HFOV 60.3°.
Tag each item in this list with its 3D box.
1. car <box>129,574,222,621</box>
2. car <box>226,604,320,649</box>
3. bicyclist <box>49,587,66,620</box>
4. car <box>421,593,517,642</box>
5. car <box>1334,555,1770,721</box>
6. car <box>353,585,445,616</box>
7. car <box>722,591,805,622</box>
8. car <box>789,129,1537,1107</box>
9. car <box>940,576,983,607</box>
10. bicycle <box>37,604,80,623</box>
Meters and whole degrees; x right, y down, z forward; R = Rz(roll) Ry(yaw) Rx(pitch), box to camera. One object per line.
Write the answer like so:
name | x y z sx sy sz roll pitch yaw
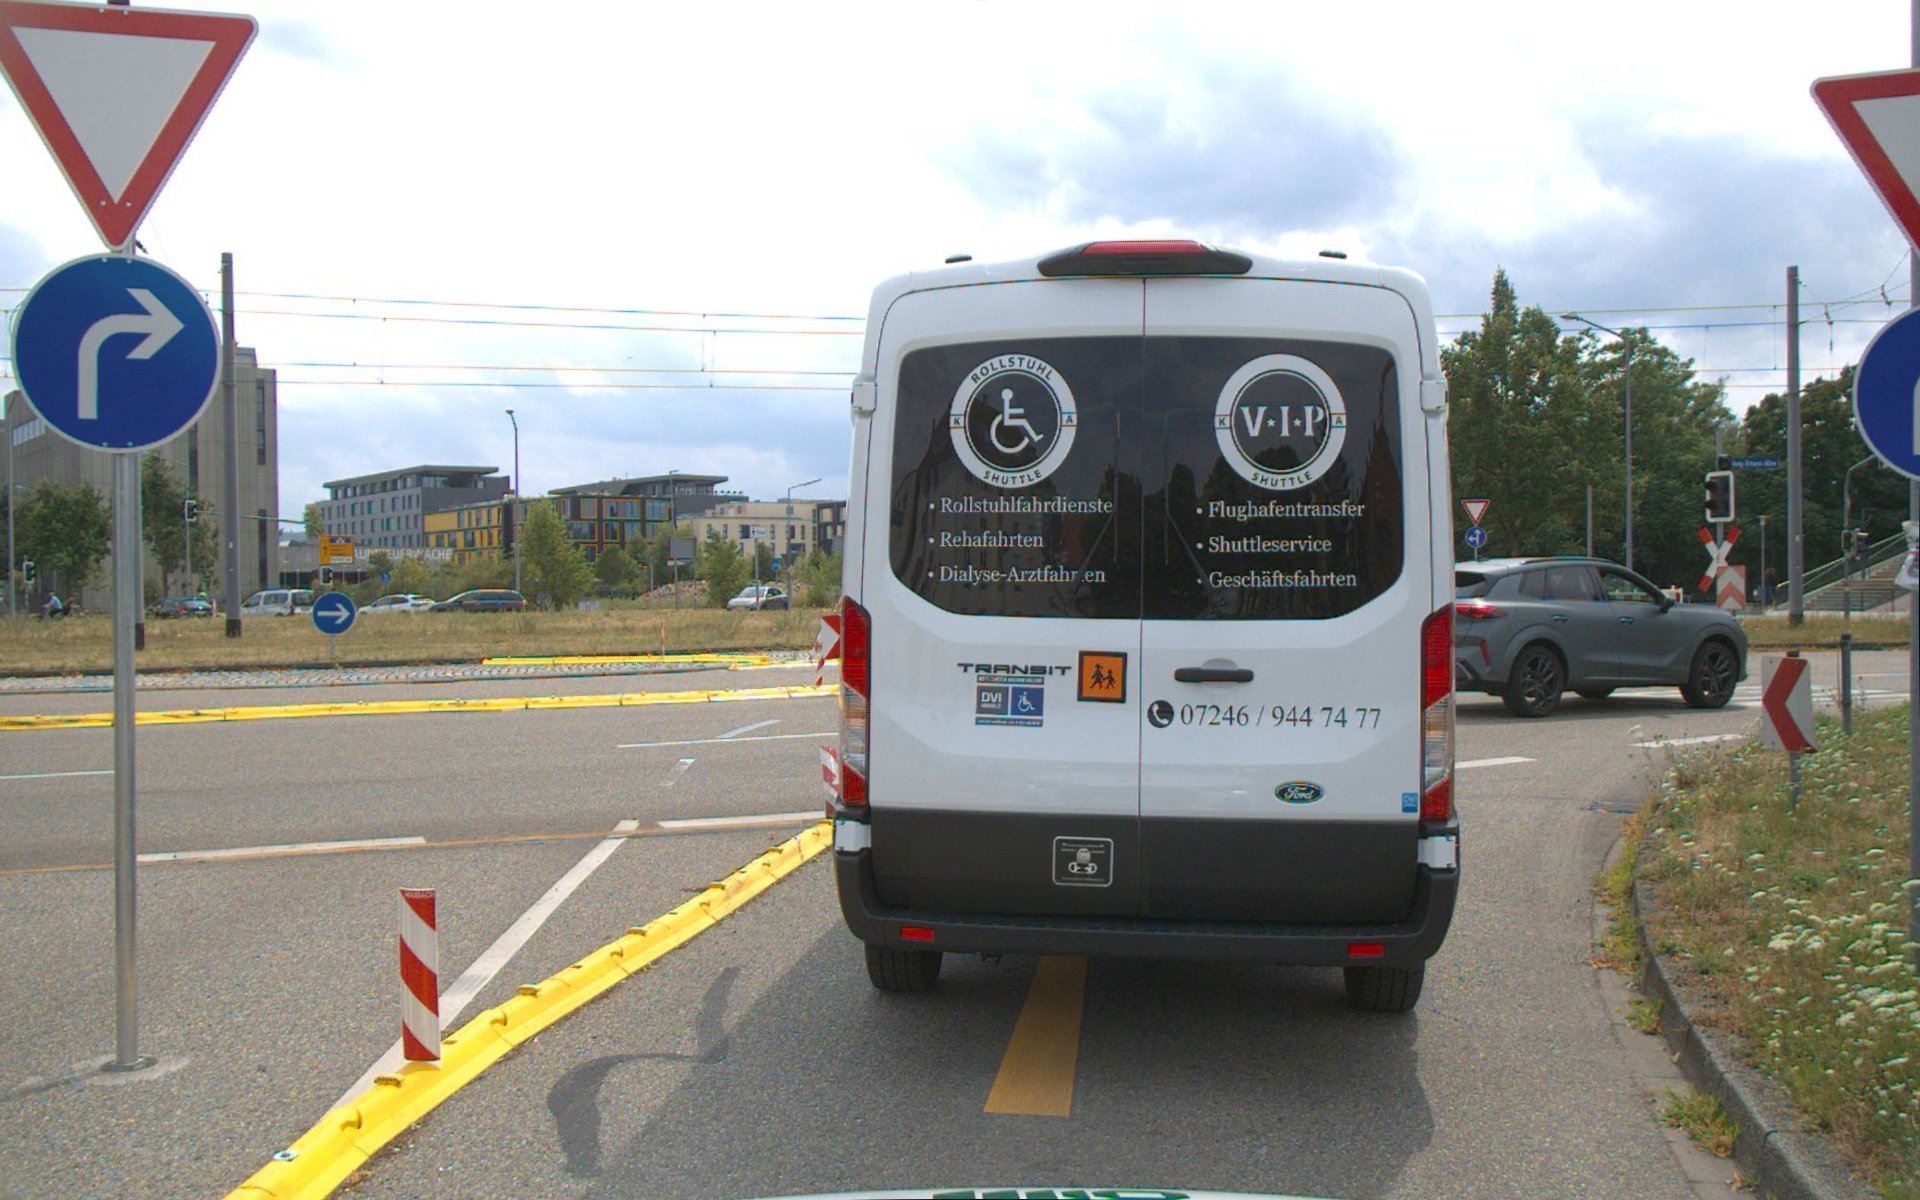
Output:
car | -34.758 -0.089 73.267 3.916 2.049 1.994 -1 -1 34
car | -32.112 1.247 77.294 4.271 2.049 1.994 -1 -1 34
bicyclist | -44.124 0.180 80.840 0.639 1.585 0.527 -1 0 -22
car | -21.169 0.764 71.380 3.924 2.049 1.990 0 -1 -18
car | 6.453 0.338 17.988 4.408 1.578 2.046 -1 1 -27
car | -27.010 0.042 79.663 3.904 1.489 1.833 0 -1 20
car | -9.666 0.328 81.539 1.798 1.489 3.982 -1 0 38
car | 0.751 0.047 7.513 2.081 2.744 5.634 -1 0 4
car | 0.106 -0.517 104.961 1.951 1.881 4.003 0 -1 11
bicycle | -44.065 0.638 80.862 1.803 0.892 0.527 -1 0 -22
